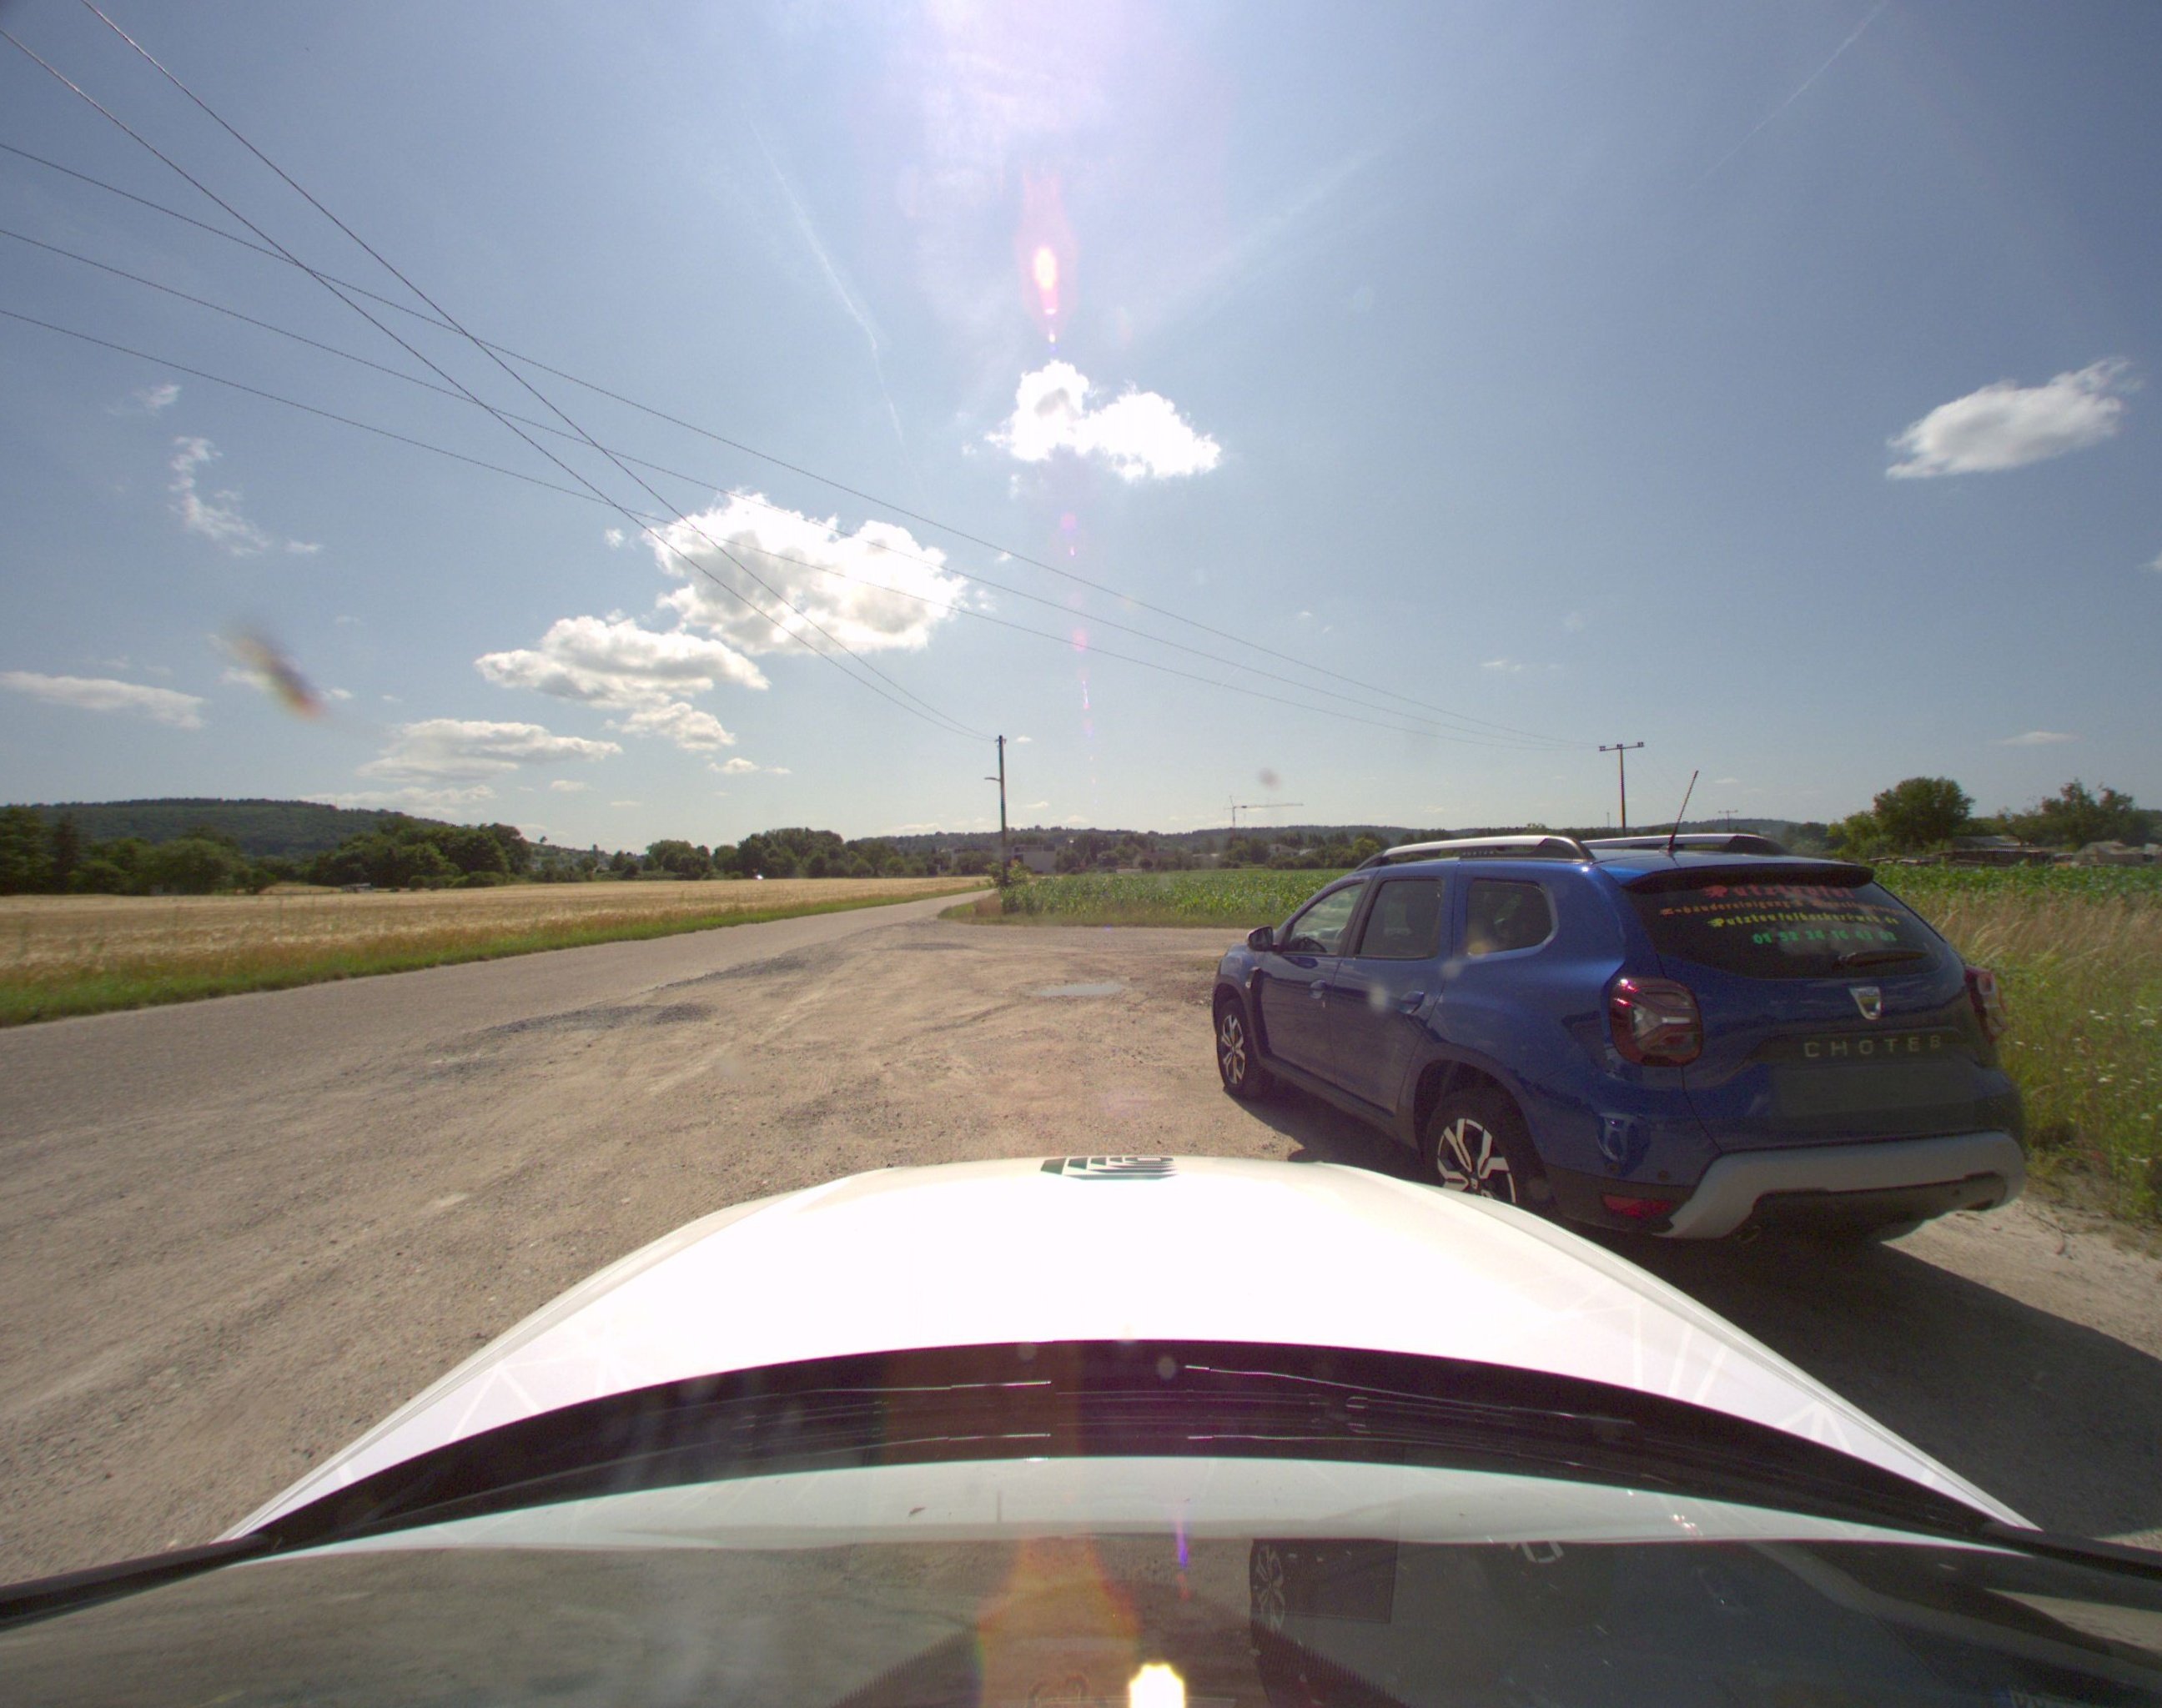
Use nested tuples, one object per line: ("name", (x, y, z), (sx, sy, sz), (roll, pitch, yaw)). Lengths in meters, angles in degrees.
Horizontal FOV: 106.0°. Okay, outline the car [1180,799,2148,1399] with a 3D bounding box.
("car", (2.106, 0.751, 4.643), (1.858, 1.661, 4.442), (0, -2, -10))
